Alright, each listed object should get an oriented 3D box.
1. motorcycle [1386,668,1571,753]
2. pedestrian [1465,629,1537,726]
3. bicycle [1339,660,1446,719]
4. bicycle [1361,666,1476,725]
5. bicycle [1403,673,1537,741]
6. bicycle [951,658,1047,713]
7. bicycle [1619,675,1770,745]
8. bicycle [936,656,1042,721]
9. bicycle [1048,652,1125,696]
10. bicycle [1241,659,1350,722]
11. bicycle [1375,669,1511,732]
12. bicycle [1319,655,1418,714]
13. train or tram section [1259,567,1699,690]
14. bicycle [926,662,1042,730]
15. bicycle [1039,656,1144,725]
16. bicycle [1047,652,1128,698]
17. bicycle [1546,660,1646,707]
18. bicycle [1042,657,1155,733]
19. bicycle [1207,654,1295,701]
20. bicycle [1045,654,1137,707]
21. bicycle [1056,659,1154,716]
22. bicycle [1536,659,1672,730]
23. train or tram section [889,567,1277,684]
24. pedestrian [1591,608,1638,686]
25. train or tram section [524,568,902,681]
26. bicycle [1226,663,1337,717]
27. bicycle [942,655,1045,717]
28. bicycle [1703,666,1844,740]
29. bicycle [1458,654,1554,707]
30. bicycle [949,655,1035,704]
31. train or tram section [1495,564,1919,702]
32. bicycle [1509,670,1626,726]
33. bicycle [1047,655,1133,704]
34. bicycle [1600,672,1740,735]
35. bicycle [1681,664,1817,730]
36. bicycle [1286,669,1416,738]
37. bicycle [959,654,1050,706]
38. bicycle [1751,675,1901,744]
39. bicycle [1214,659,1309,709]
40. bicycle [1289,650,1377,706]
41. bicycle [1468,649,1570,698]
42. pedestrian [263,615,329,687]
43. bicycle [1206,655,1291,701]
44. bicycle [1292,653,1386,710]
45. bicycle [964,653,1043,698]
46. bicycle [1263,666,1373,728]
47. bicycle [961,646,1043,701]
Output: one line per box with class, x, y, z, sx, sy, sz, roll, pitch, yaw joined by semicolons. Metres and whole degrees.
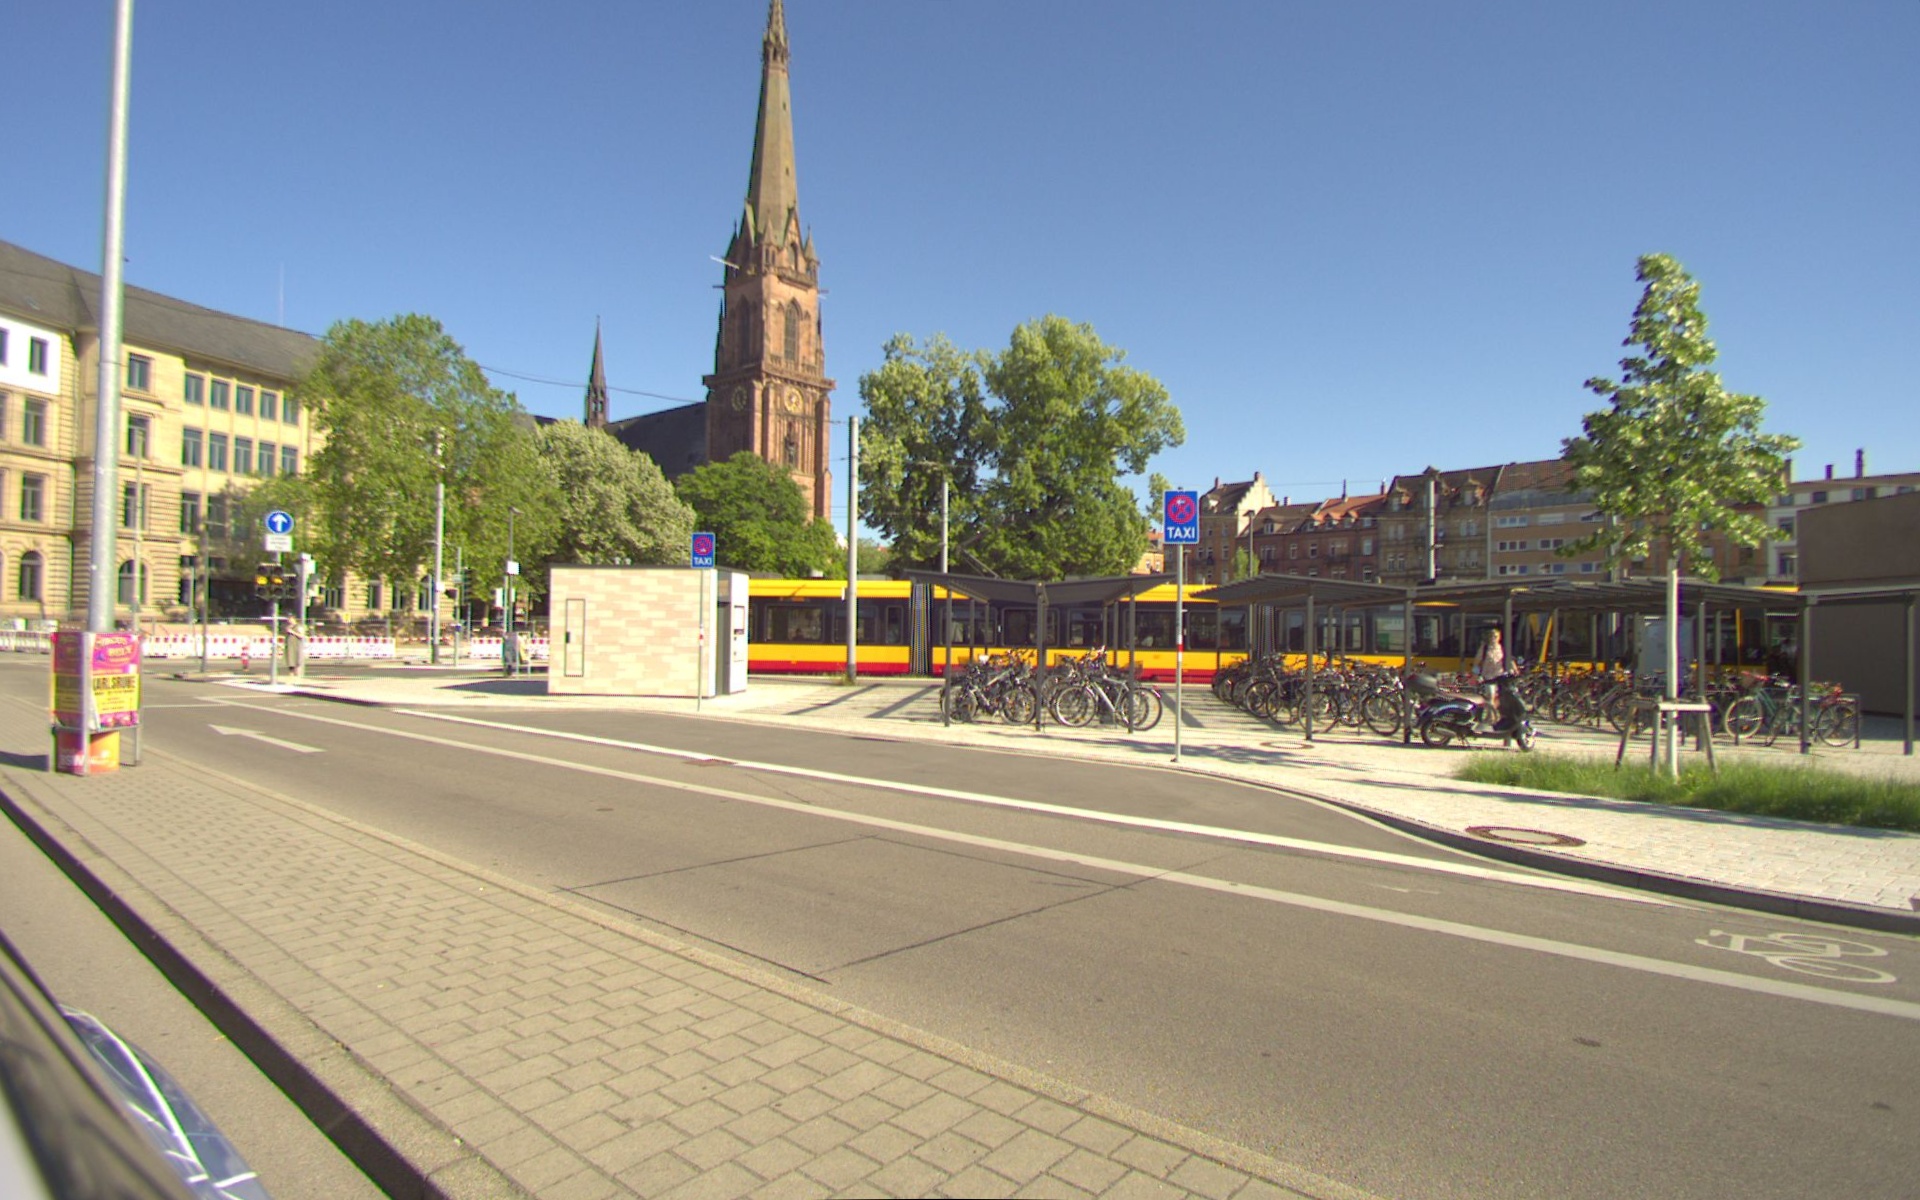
motorcycle;7.576;1.603;14.869;2.333;1.167;0.610;0;-2;7
pedestrian;9.884;1.386;18.533;0.829;1.718;1.022;0;-2;7
bicycle;8.482;1.751;19.898;1.808;1.088;0.627;0;-2;7
bicycle;8.408;1.752;18.606;1.808;1.015;0.627;0;-2;7
bicycle;8.176;1.705;16.286;1.808;1.015;0.627;0;-2;7
bicycle;0.769;1.645;19.620;1.809;1.015;0.627;0;-2;9
bicycle;11.567;1.720;15.985;1.809;1.015;0.627;0;-2;9
bicycle;0.524;1.546;17.872;1.809;1.074;0.627;0;-2;9
bicycle;3.040;1.772;24.444;1.808;1.015;0.627;0;-2;7
bicycle;6.284;1.688;19.045;1.859;1.101;0.626;0;-2;8
bicycle;8.327;1.732;17.512;2.003;1.015;0.627;0;-2;7
bicycle;8.519;1.752;21.163;1.808;1.170;0.627;0;-2;7
train or tram section;16.049;0.869;32.185;12.174;3.629;2.828;0;-2;6
bicycle;0.413;1.590;17.000;1.847;1.015;0.699;2;-2;9
bicycle;2.317;1.584;17.911;1.808;1.157;0.627;0;-2;7
bicycle;2.918;1.715;23.244;1.808;1.015;0.627;0;-2;7
bicycle;14.461;1.885;23.042;1.808;1.015;0.627;0;-2;7
bicycle;2.273;1.561;16.769;1.808;1.167;0.627;1;-2;7
bicycle;6.529;1.730;22.746;1.807;1.015;0.628;0;-2;5
bicycle;2.637;1.619;20.484;1.808;1.015;0.627;0;-2;7
bicycle;2.729;1.643;19.176;1.808;1.015;0.745;0;-2;7
bicycle;11.705;1.704;18.437;2.029;1.218;0.505;0;-2;8
train or tram section;3.903;0.818;33.482;12.174;3.629;2.796;0;-2;6
pedestrian;15.903;1.135;24.580;0.700;1.869;0.751;2;-2;-38
train or tram section;-8.329;0.808;34.767;12.382;3.629;2.796;0;-2;6
bicycle;6.357;1.767;20.067;1.978;1.015;0.628;0;-2;4
bicycle;0.621;1.552;18.401;1.809;1.059;0.571;0;-2;9
bicycle;13.399;1.685;16.700;1.805;1.155;0.629;0;-2;0
bicycle;12.408;1.820;23.038;1.809;1.140;0.627;0;-2;9
bicycle;0.697;1.703;21.806;1.809;1.015;0.627;0;-2;9
train or tram section;22.001;0.897;28.319;12.178;3.629;2.748;0;-2;7
bicycle;11.670;1.875;19.476;1.809;1.015;0.627;0;-2;9
bicycle;2.785;1.698;21.758;1.808;1.015;0.627;0;-2;7
bicycle;12.011;1.741;17.161;1.872;1.004;0.499;0;-2;13
bicycle;13.998;1.715;17.996;1.808;1.101;0.627;0;-2;7
bicycle;6.385;1.679;16.614;1.871;1.050;0.688;0;-2;9
bicycle;0.920;1.626;20.775;1.809;1.015;0.627;0;-2;9
bicycle;13.428;1.691;15.713;1.803;1.015;0.629;1;-2;-3
bicycle;6.377;1.765;21.441;1.805;1.015;0.629;0;-2;0
bicycle;8.644;1.793;23.512;1.808;1.242;0.627;0;-2;7
bicycle;12.095;1.581;21.943;1.809;1.015;0.627;0;-2;9
pedestrian;-17.666;1.340;26.931;0.826;1.869;1.215;-1;-2;35
bicycle;6.659;1.796;23.434;1.808;1.015;0.627;0;-2;6
bicycle;8.336;1.775;22.314;1.808;1.198;0.647;0;-2;7
bicycle;1.027;1.765;23.750;1.809;1.015;0.627;0;-2;9
bicycle;6.261;1.689;17.767;1.731;1.015;0.547;0;-2;10
bicycle;0.969;1.661;23.050;1.809;1.188;0.627;0;-2;9
